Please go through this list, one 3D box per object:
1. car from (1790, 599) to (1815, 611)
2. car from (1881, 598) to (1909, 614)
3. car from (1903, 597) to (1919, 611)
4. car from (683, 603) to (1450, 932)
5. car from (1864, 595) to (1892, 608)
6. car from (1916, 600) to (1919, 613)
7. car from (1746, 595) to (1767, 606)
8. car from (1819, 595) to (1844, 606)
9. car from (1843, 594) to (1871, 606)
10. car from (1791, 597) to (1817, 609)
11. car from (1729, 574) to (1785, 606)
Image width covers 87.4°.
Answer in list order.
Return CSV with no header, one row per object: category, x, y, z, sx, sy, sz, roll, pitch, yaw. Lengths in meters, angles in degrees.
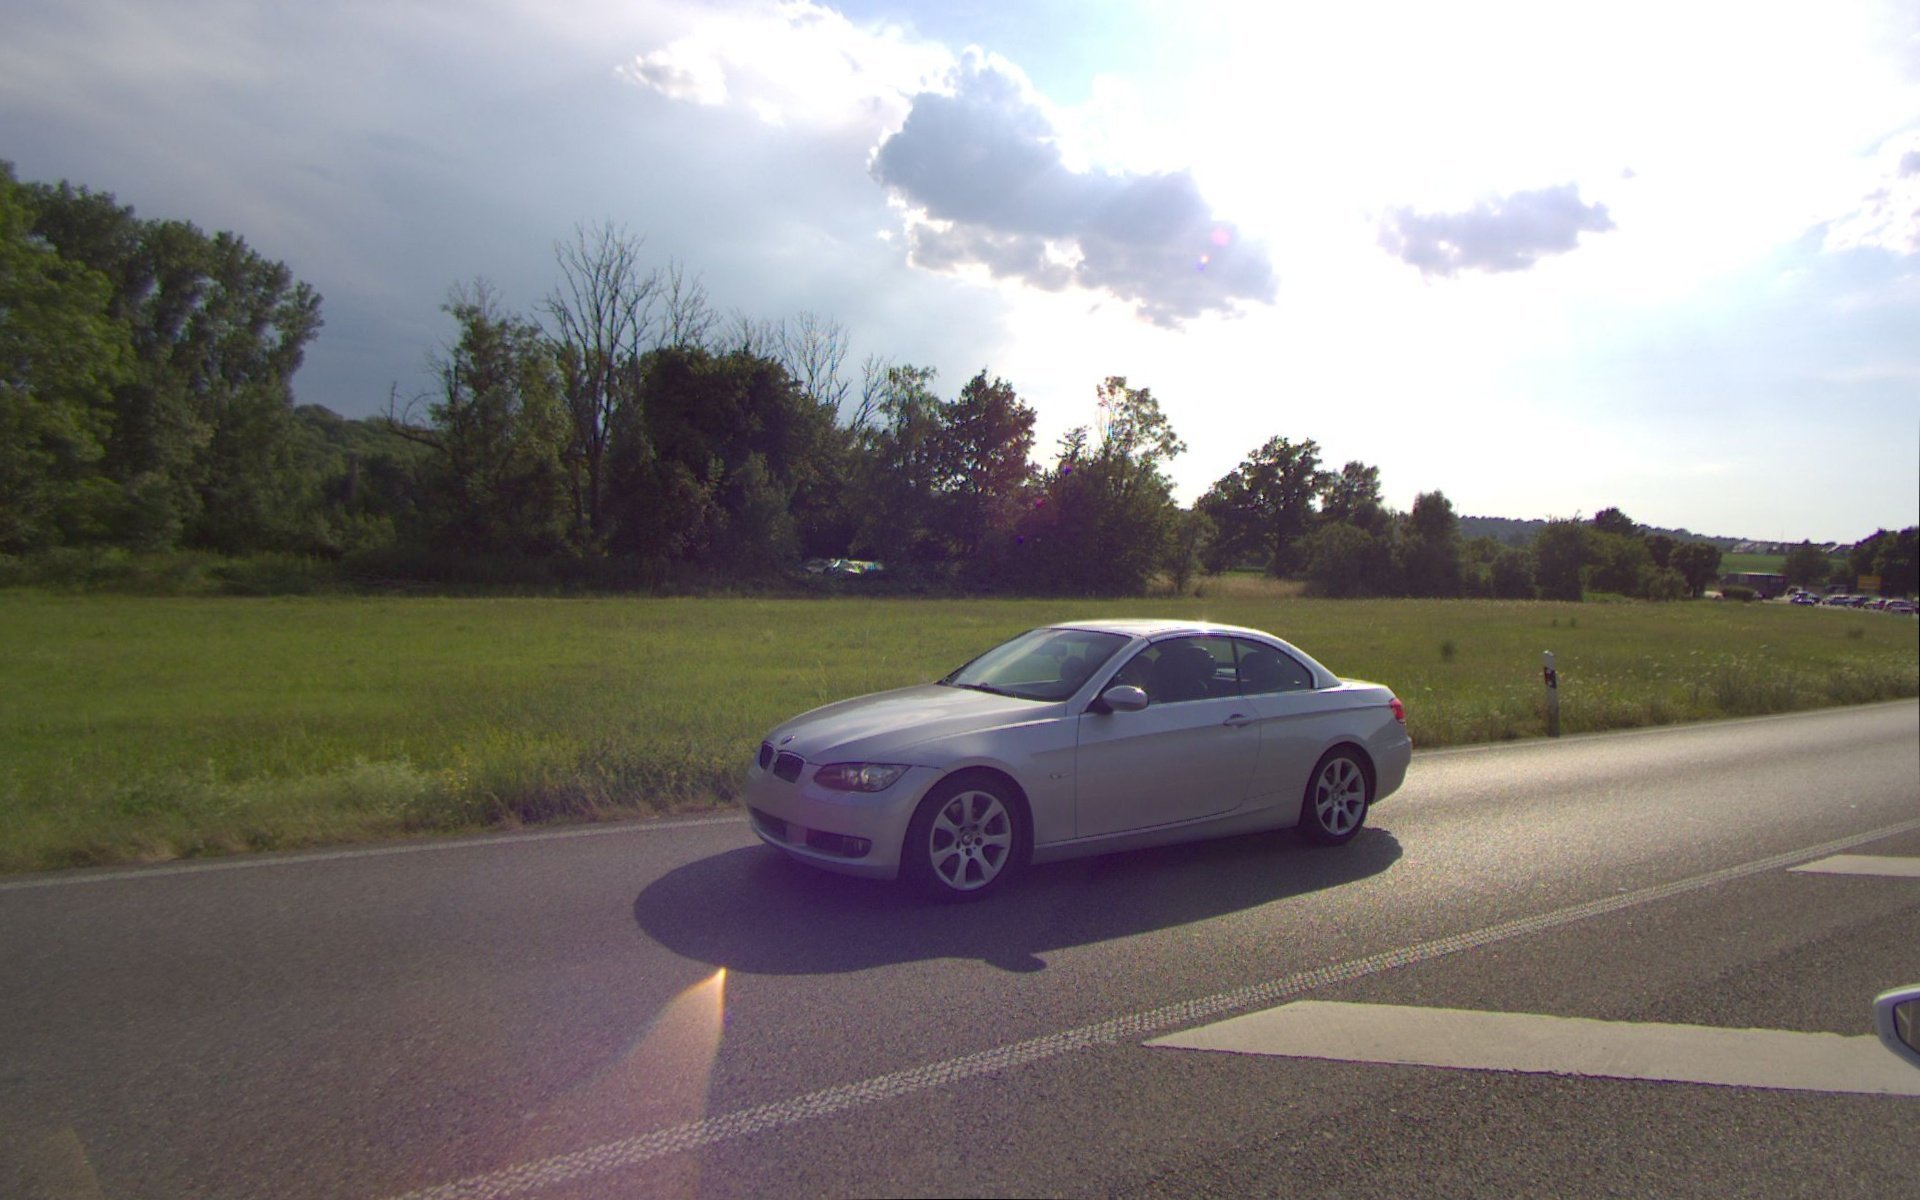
car,118.524,0.721,141.324,1.854,1.621,3.992,3,2,30
car,101.379,0.630,108.953,1.859,1.621,3.981,3,2,39
car,115.554,0.505,120.904,1.853,1.621,3.994,3,2,28
car,0.870,0.779,6.225,4.698,1.351,1.690,2,0,-33
car,122.573,0.152,134.182,1.854,1.621,3.992,3,2,30
car,121.200,0.888,125.255,1.854,1.621,3.993,3,2,29
car,125.335,0.076,158.143,1.854,1.621,3.993,3,2,29
car,128.197,0.061,147.845,1.853,1.621,3.994,3,2,28
car,124.935,0.010,139.962,1.852,1.621,3.995,3,2,26
car,129.732,0.445,154.445,1.852,1.621,3.997,3,1,23
car,135.989,-1.674,171.607,3.483,5.127,13.237,3,1,22
